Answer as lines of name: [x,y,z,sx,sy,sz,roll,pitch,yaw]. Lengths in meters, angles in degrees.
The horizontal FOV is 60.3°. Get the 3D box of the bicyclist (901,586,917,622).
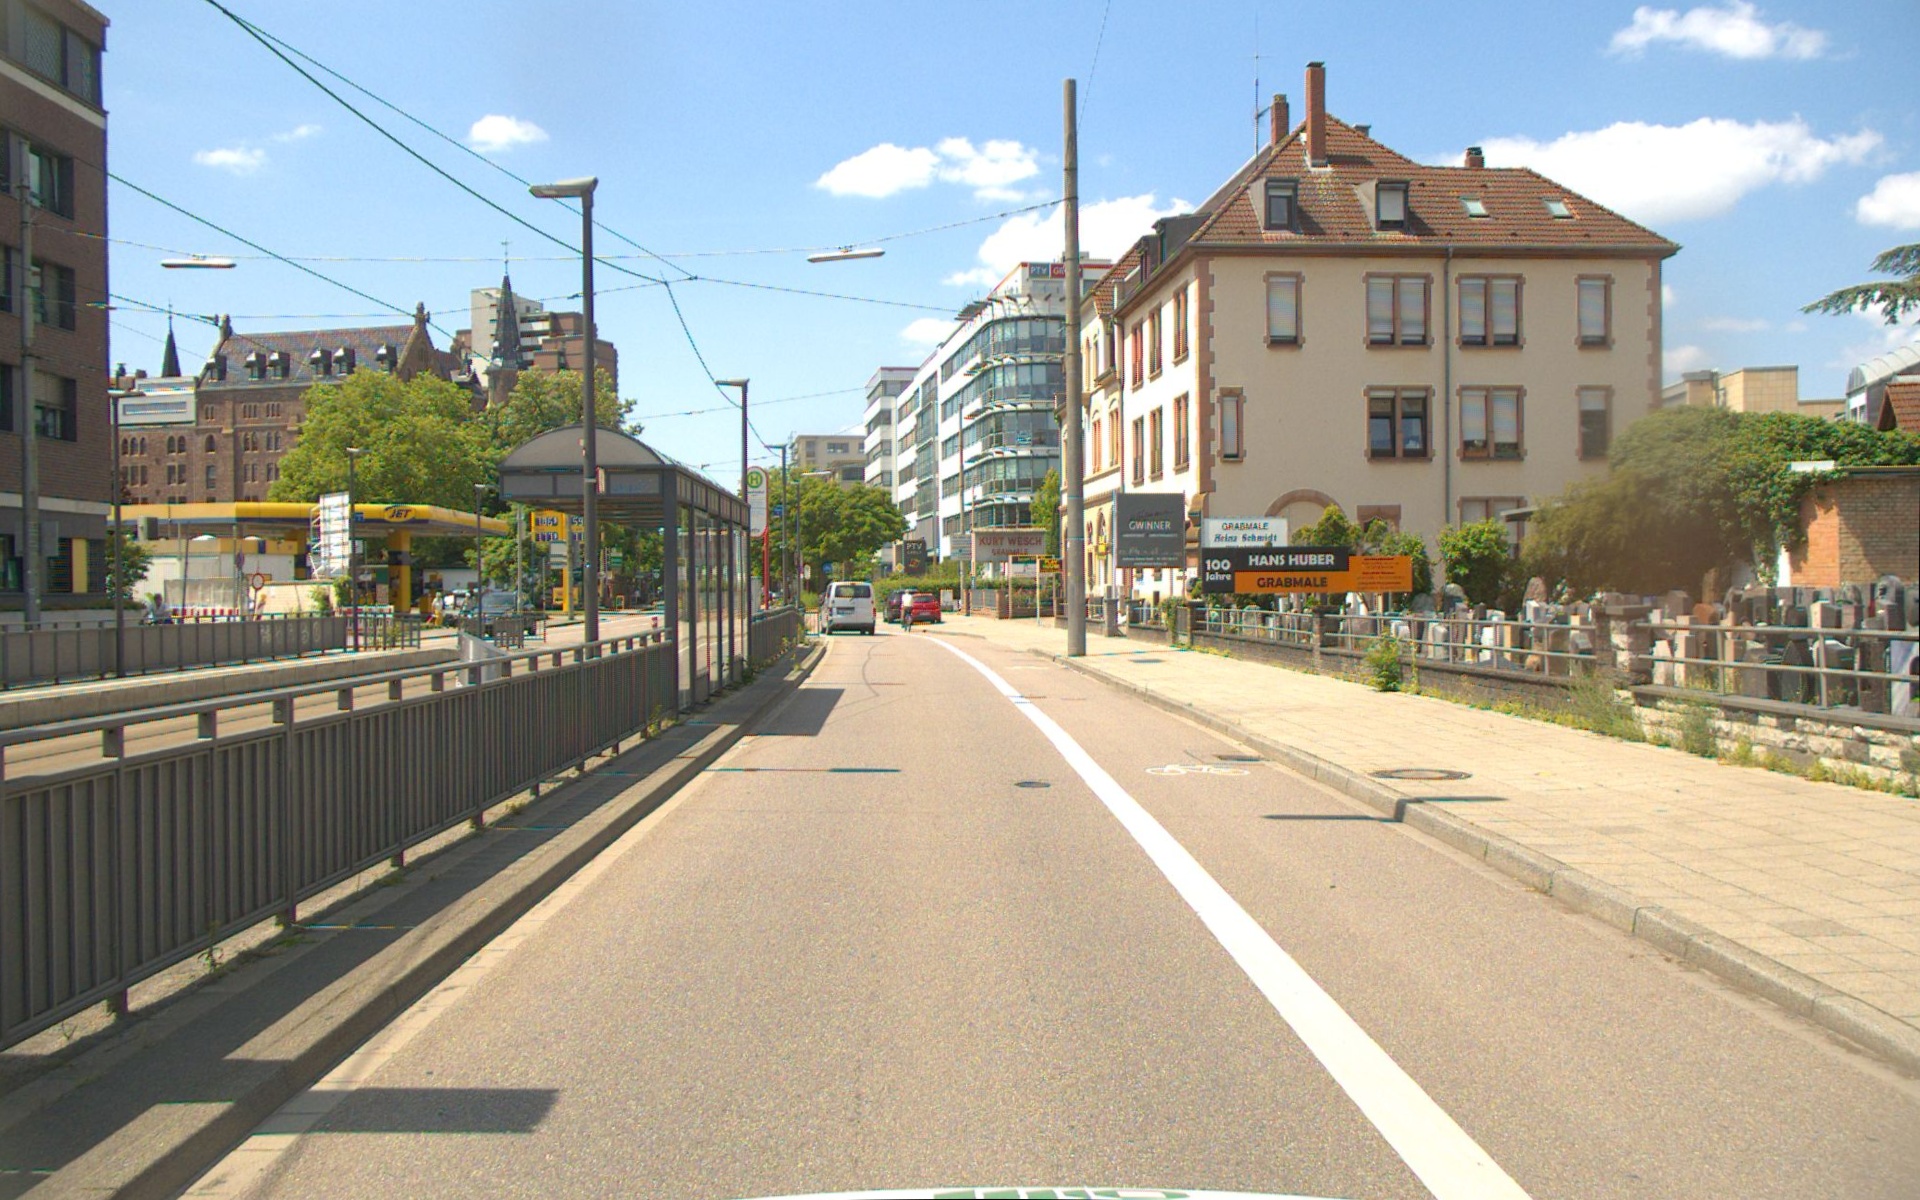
bicyclist: [-2.036,0.167,65.475,0.580,1.421,0.840,0,0,-6]

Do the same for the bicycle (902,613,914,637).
bicycle: [-2.060,0.984,65.574,0.456,0.903,2.047,0,0,-3]

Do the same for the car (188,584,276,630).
car: [-29.628,0.282,67.232,2.042,1.595,3.936,-2,-1,-43]

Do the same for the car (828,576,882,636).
car: [-3.770,0.181,59.015,1.718,2.048,3.995,-1,1,-6]

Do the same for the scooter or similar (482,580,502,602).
scooter or similar: [-33.443,-0.638,118.151,1.149,1.492,1.058,0,-1,-4]

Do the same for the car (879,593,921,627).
car: [-3.169,0.489,86.470,1.827,1.716,4.994,-1,0,-6]

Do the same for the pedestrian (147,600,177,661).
pedestrian: [-18.747,0.713,38.855,0.426,1.408,0.535,-2,-1,-1]

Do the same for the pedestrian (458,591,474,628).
pedestrian: [-22.789,0.439,76.308,0.568,1.700,0.667,0,0,-1]

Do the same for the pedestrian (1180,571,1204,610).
pedestrian: [6.478,-0.269,46.230,0.524,1.072,0.484,-2,-2,-5]

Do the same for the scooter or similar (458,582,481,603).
scooter or similar: [-35.146,-0.555,118.413,1.286,1.492,1.059,0,-1,2]

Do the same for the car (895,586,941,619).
car: [-2.062,0.114,80.343,1.680,1.478,4.064,-2,1,-9]

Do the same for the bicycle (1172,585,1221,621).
bicycle: [6.605,0.084,46.228,1.287,0.956,0.357,-2,-2,-4]

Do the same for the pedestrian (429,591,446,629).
pedestrian: [-23.806,0.455,75.376,0.541,1.687,0.672,0,0,-2]

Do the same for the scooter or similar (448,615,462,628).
scooter or similar: [-23.400,1.013,76.628,0.466,0.591,0.631,0,0,2]

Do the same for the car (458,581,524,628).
car: [-17.422,0.148,61.578,1.665,1.644,3.754,-1,1,-5]
